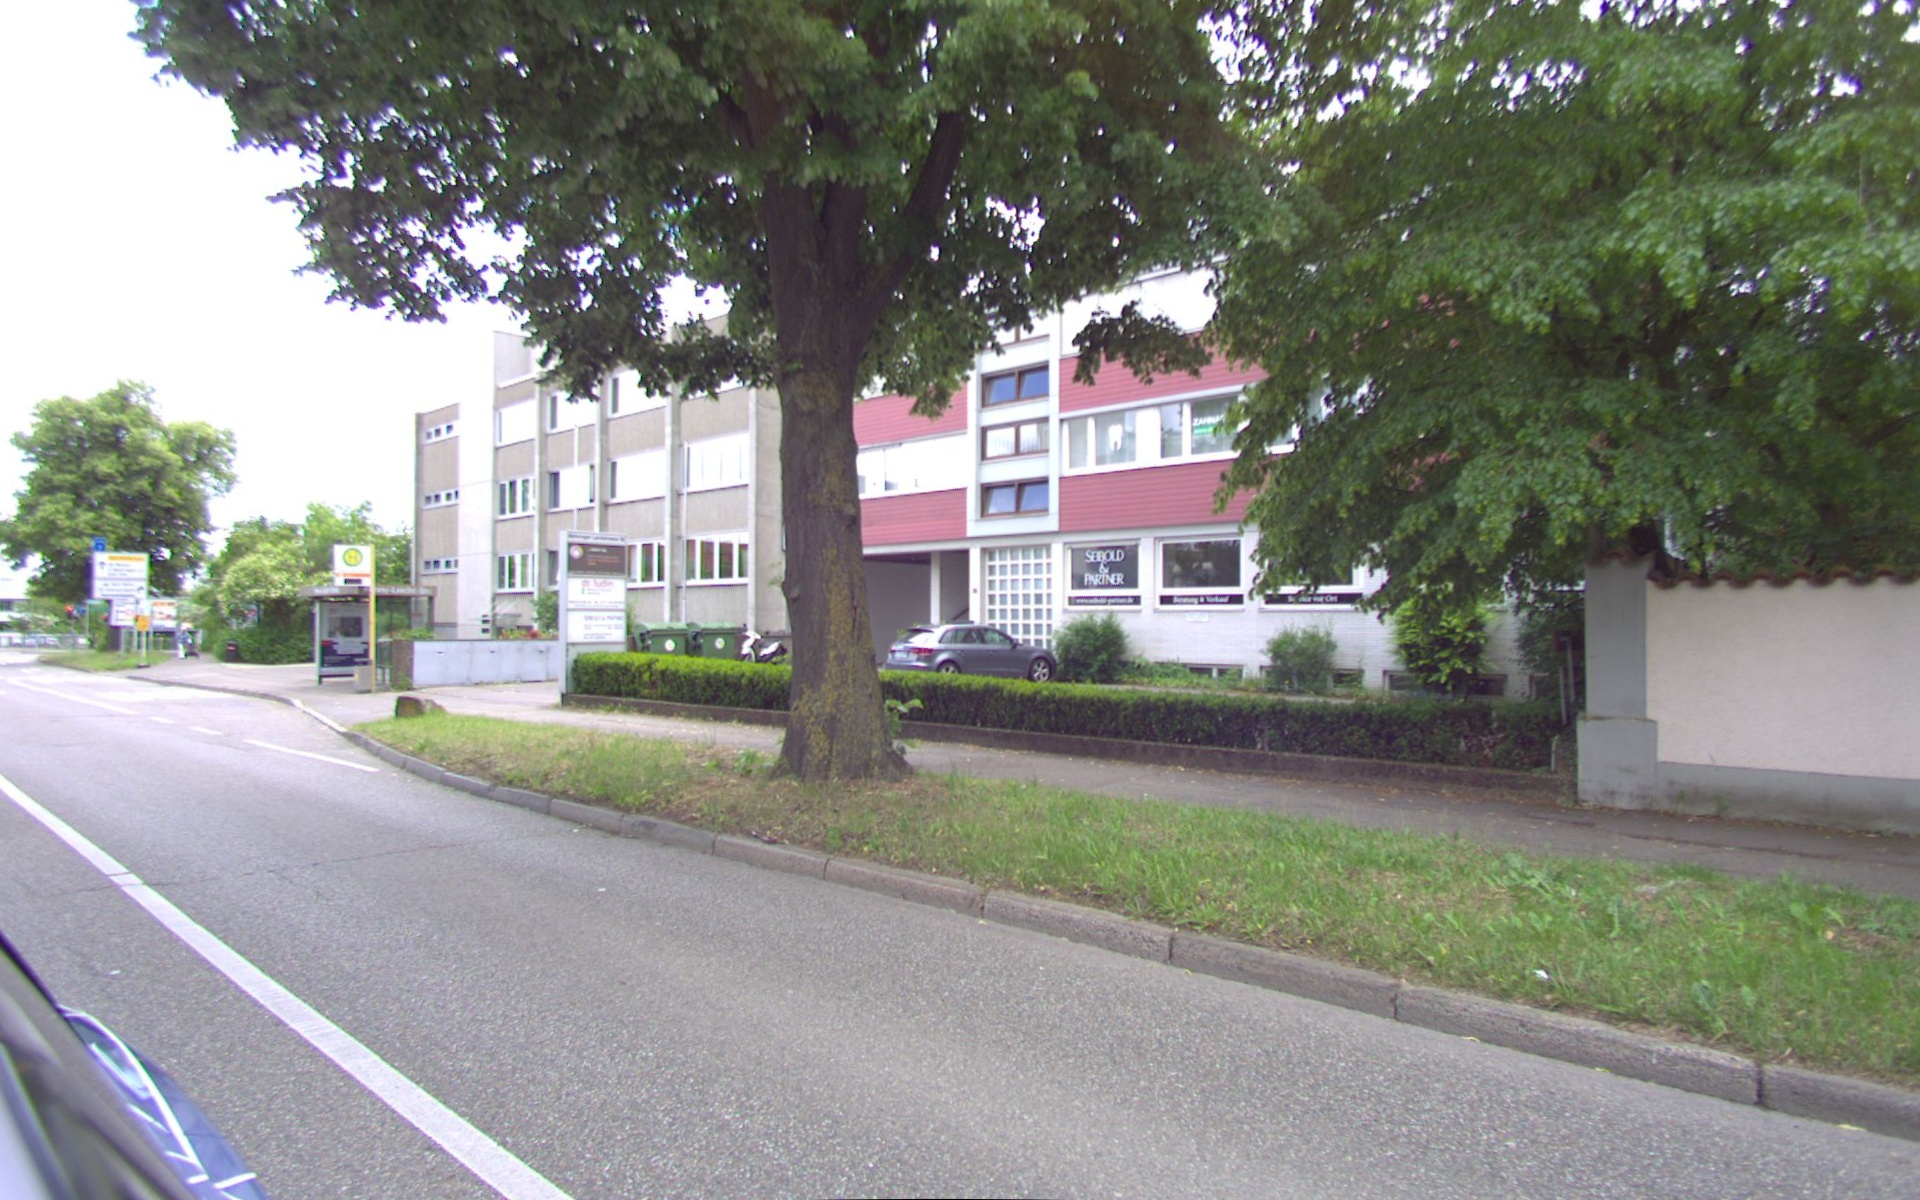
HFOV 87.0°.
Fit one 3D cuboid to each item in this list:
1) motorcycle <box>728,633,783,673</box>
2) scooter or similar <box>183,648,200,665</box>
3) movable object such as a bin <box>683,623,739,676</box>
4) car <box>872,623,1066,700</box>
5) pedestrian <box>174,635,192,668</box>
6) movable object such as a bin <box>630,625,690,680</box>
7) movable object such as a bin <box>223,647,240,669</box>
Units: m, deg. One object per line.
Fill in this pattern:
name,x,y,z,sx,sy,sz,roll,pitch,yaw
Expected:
motorcycle,-6.274,1.602,31.118,0.639,1.148,1.624,-1,-1,41
scooter or similar,-37.508,2.745,49.402,0.598,0.792,0.861,0,-1,-32
movable object such as a bin,-7.328,1.436,29.787,0.884,1.476,1.347,-1,-1,41
car,0.250,1.319,22.918,4.082,1.490,1.817,-1,-1,-35
pedestrian,-38.325,2.538,49.927,0.662,1.570,0.521,0,-1,-32
movable object such as a bin,-8.467,1.451,28.547,0.992,1.476,1.285,-1,-1,41
movable object such as a bin,-31.957,2.530,44.411,0.558,0.934,0.609,0,-1,-33
